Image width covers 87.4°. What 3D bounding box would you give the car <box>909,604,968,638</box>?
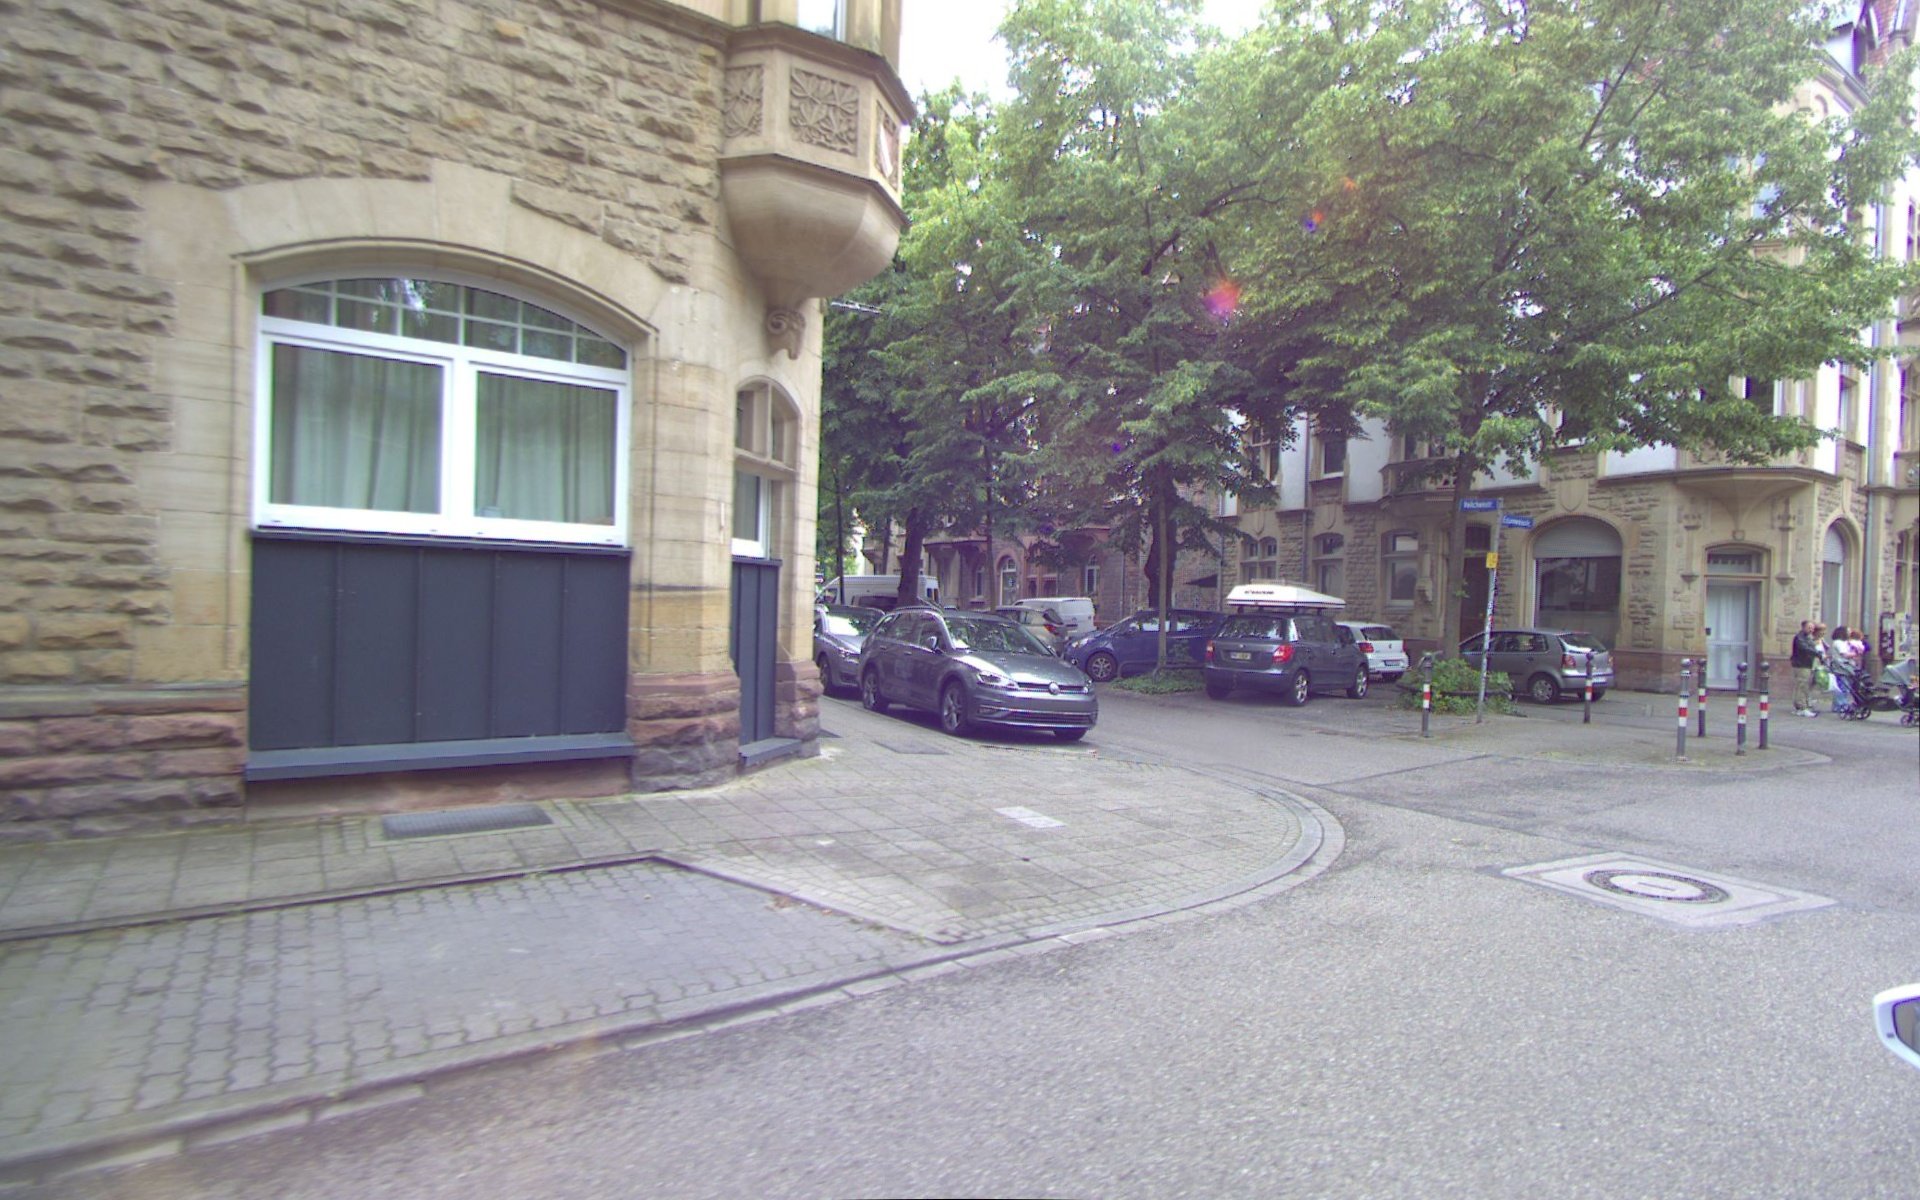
[{"bbox_3d":[-1.110,0.995,49.344,1.696,1.529,3.537,2,0,-23],"label":"car"}]

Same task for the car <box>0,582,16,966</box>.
[{"bbox_3d":[-4.876,0.656,2.170,3.839,1.453,1.717,1,2,-32],"label":"car"}]

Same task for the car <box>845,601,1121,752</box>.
[{"bbox_3d":[0.086,0.863,12.849,1.642,1.485,4.256,6,-2,-26],"label":"car"}]

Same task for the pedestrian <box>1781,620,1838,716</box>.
[{"bbox_3d":[15.132,1.204,17.898,0.520,1.665,0.527,2,2,-22],"label":"pedestrian"}]

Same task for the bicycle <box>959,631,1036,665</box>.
[{"bbox_3d":[0.921,1.175,24.705,1.751,0.764,0.836,0,0,-11],"label":"bicycle"}]

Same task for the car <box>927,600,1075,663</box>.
[{"bbox_3d":[1.125,0.817,26.848,3.585,1.500,1.780,1,-1,15],"label":"car"}]

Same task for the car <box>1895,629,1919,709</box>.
[{"bbox_3d":[20.224,1.441,19.777,3.958,1.514,1.699,3,1,-33],"label":"car"}]

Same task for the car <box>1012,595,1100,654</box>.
[{"bbox_3d":[3.667,0.893,38.836,1.885,2.035,3.511,0,2,-24],"label":"car"}]

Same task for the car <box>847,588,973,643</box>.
[{"bbox_3d":[-1.589,0.511,32.574,3.683,1.537,1.759,3,-1,10],"label":"car"}]

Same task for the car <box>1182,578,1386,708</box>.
[{"bbox_3d":[5.697,0.689,17.420,1.808,1.994,3.938,2,0,44],"label":"car"}]

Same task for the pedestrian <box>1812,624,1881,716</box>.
[{"bbox_3d":[16.303,1.276,18.493,0.656,1.615,0.632,2,1,7],"label":"pedestrian"}]

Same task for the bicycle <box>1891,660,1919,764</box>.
[{"bbox_3d":[11.187,1.252,11.265,1.779,1.108,0.630,2,0,-32],"label":"bicycle"}]

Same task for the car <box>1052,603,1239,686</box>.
[{"bbox_3d":[3.732,0.878,20.670,3.541,1.536,1.654,2,0,2],"label":"car"}]

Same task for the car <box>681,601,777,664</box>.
[{"bbox_3d":[-5.994,0.793,25.848,1.559,1.367,3.367,6,-2,-26],"label":"car"}]

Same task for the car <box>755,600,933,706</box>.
[{"bbox_3d":[-2.166,0.838,17.562,1.642,1.485,4.256,6,-2,-26],"label":"car"}]

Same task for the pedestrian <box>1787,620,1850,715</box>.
[{"bbox_3d":[15.602,1.216,18.261,0.594,1.665,0.615,1,1,-22],"label":"pedestrian"}]

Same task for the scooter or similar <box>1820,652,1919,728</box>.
[{"bbox_3d":[15.760,1.514,17.136,0.666,1.119,1.466,2,2,-22],"label":"scooter or similar"}]

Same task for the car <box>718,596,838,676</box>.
[{"bbox_3d":[-4.091,0.746,22.200,1.642,1.485,3.367,6,-2,-27],"label":"car"}]

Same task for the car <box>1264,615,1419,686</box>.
[{"bbox_3d":[9.603,1.251,25.541,1.627,1.479,3.480,3,1,-24],"label":"car"}]

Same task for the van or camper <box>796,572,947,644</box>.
[{"bbox_3d":[-3.309,0.264,37.779,5.193,2.494,2.075,2,0,17],"label":"van or camper"}]

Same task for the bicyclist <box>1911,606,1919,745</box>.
[{"bbox_3d":[11.259,0.861,11.308,0.669,1.559,0.644,2,-1,-32],"label":"bicyclist"}]

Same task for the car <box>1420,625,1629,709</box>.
[{"bbox_3d":[11.648,1.316,20.952,1.627,1.480,3.559,-1,0,-24],"label":"car"}]
